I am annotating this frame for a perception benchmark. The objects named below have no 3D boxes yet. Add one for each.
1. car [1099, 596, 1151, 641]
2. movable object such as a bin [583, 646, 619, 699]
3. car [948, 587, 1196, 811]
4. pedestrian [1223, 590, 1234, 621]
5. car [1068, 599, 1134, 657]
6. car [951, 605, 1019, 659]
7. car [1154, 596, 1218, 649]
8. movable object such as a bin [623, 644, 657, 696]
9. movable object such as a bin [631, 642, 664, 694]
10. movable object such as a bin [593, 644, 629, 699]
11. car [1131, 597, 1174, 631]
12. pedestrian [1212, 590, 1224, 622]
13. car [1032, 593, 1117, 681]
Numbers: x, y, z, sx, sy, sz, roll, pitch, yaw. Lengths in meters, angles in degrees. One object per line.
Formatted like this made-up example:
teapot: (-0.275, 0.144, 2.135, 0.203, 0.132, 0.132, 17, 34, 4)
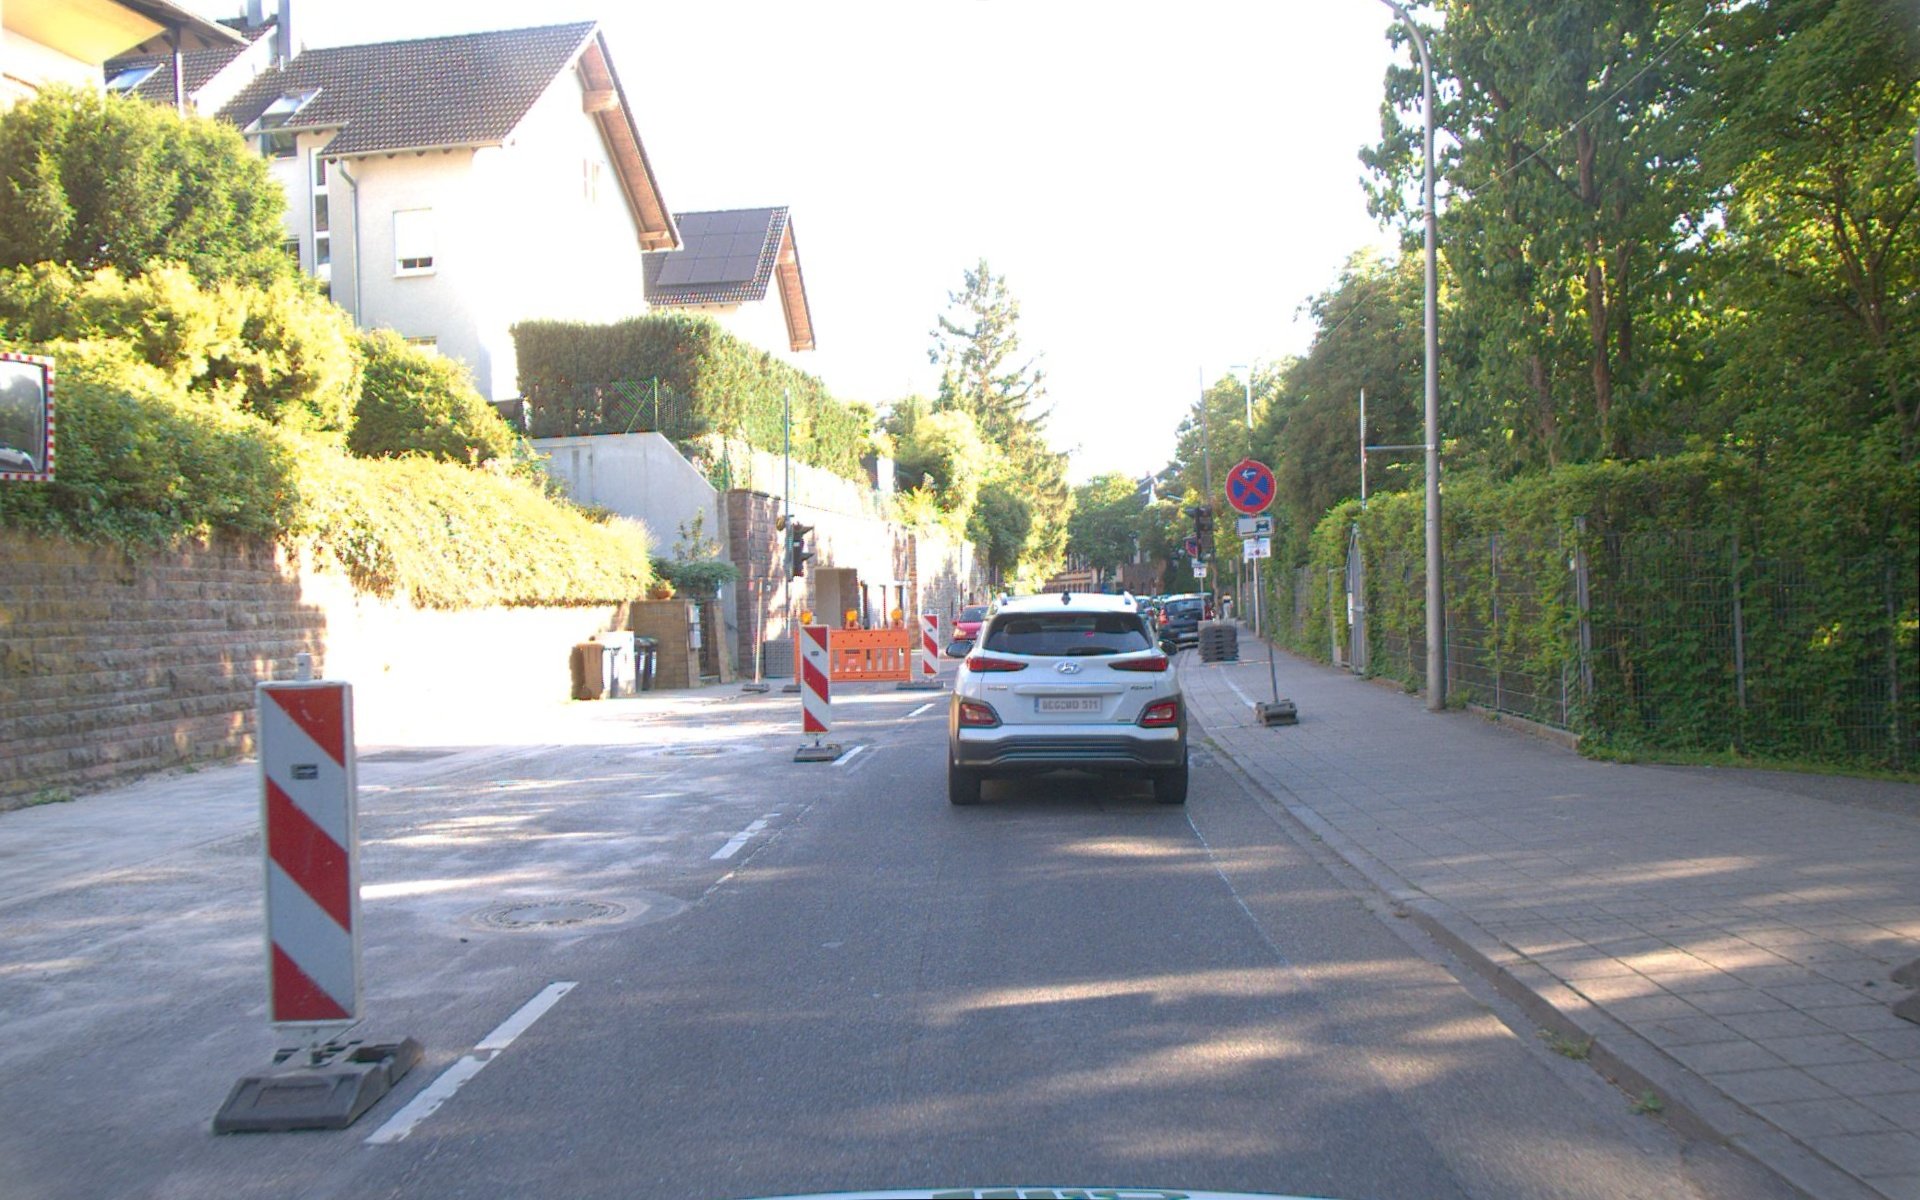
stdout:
car: (5.987, 0.633, 59.720, 1.657, 1.560, 3.885, -1, 0, 9)
movable object such as a bin: (-5.909, 1.194, 27.233, 0.444, 0.848, 0.392, -1, -1, 6)
car: (0.907, 0.705, 13.637, 1.735, 1.569, 4.002, 0, 0, 4)
pedestrian: (14.176, 0.301, 87.377, 0.492, 1.596, 0.504, -4, -1, 9)
car: (3.858, 0.738, 44.960, 1.537, 1.503, 3.550, -1, 0, 9)
car: (0.757, 0.917, 48.248, 1.592, 1.446, 3.565, -3, -1, 6)
car: (6.606, 0.624, 48.258, 1.756, 1.466, 4.003, -1, 0, 8)
movable object such as a bin: (-5.650, 1.239, 29.236, 0.446, 0.899, 0.501, -1, 0, 7)
movable object such as a bin: (-5.624, 1.222, 29.772, 0.446, 0.899, 0.501, -1, 0, 7)
movable object such as a bin: (-5.848, 1.194, 27.700, 0.446, 0.899, 0.501, -1, 0, 7)
car: (8.751, 0.607, 74.903, 1.657, 1.472, 3.885, -1, 0, 11)
pedestrian: (13.607, 0.315, 87.207, 0.492, 1.634, 0.491, -4, -1, 9)
car: (2.263, 0.673, 32.103, 1.480, 1.560, 3.550, -2, 0, 6)
